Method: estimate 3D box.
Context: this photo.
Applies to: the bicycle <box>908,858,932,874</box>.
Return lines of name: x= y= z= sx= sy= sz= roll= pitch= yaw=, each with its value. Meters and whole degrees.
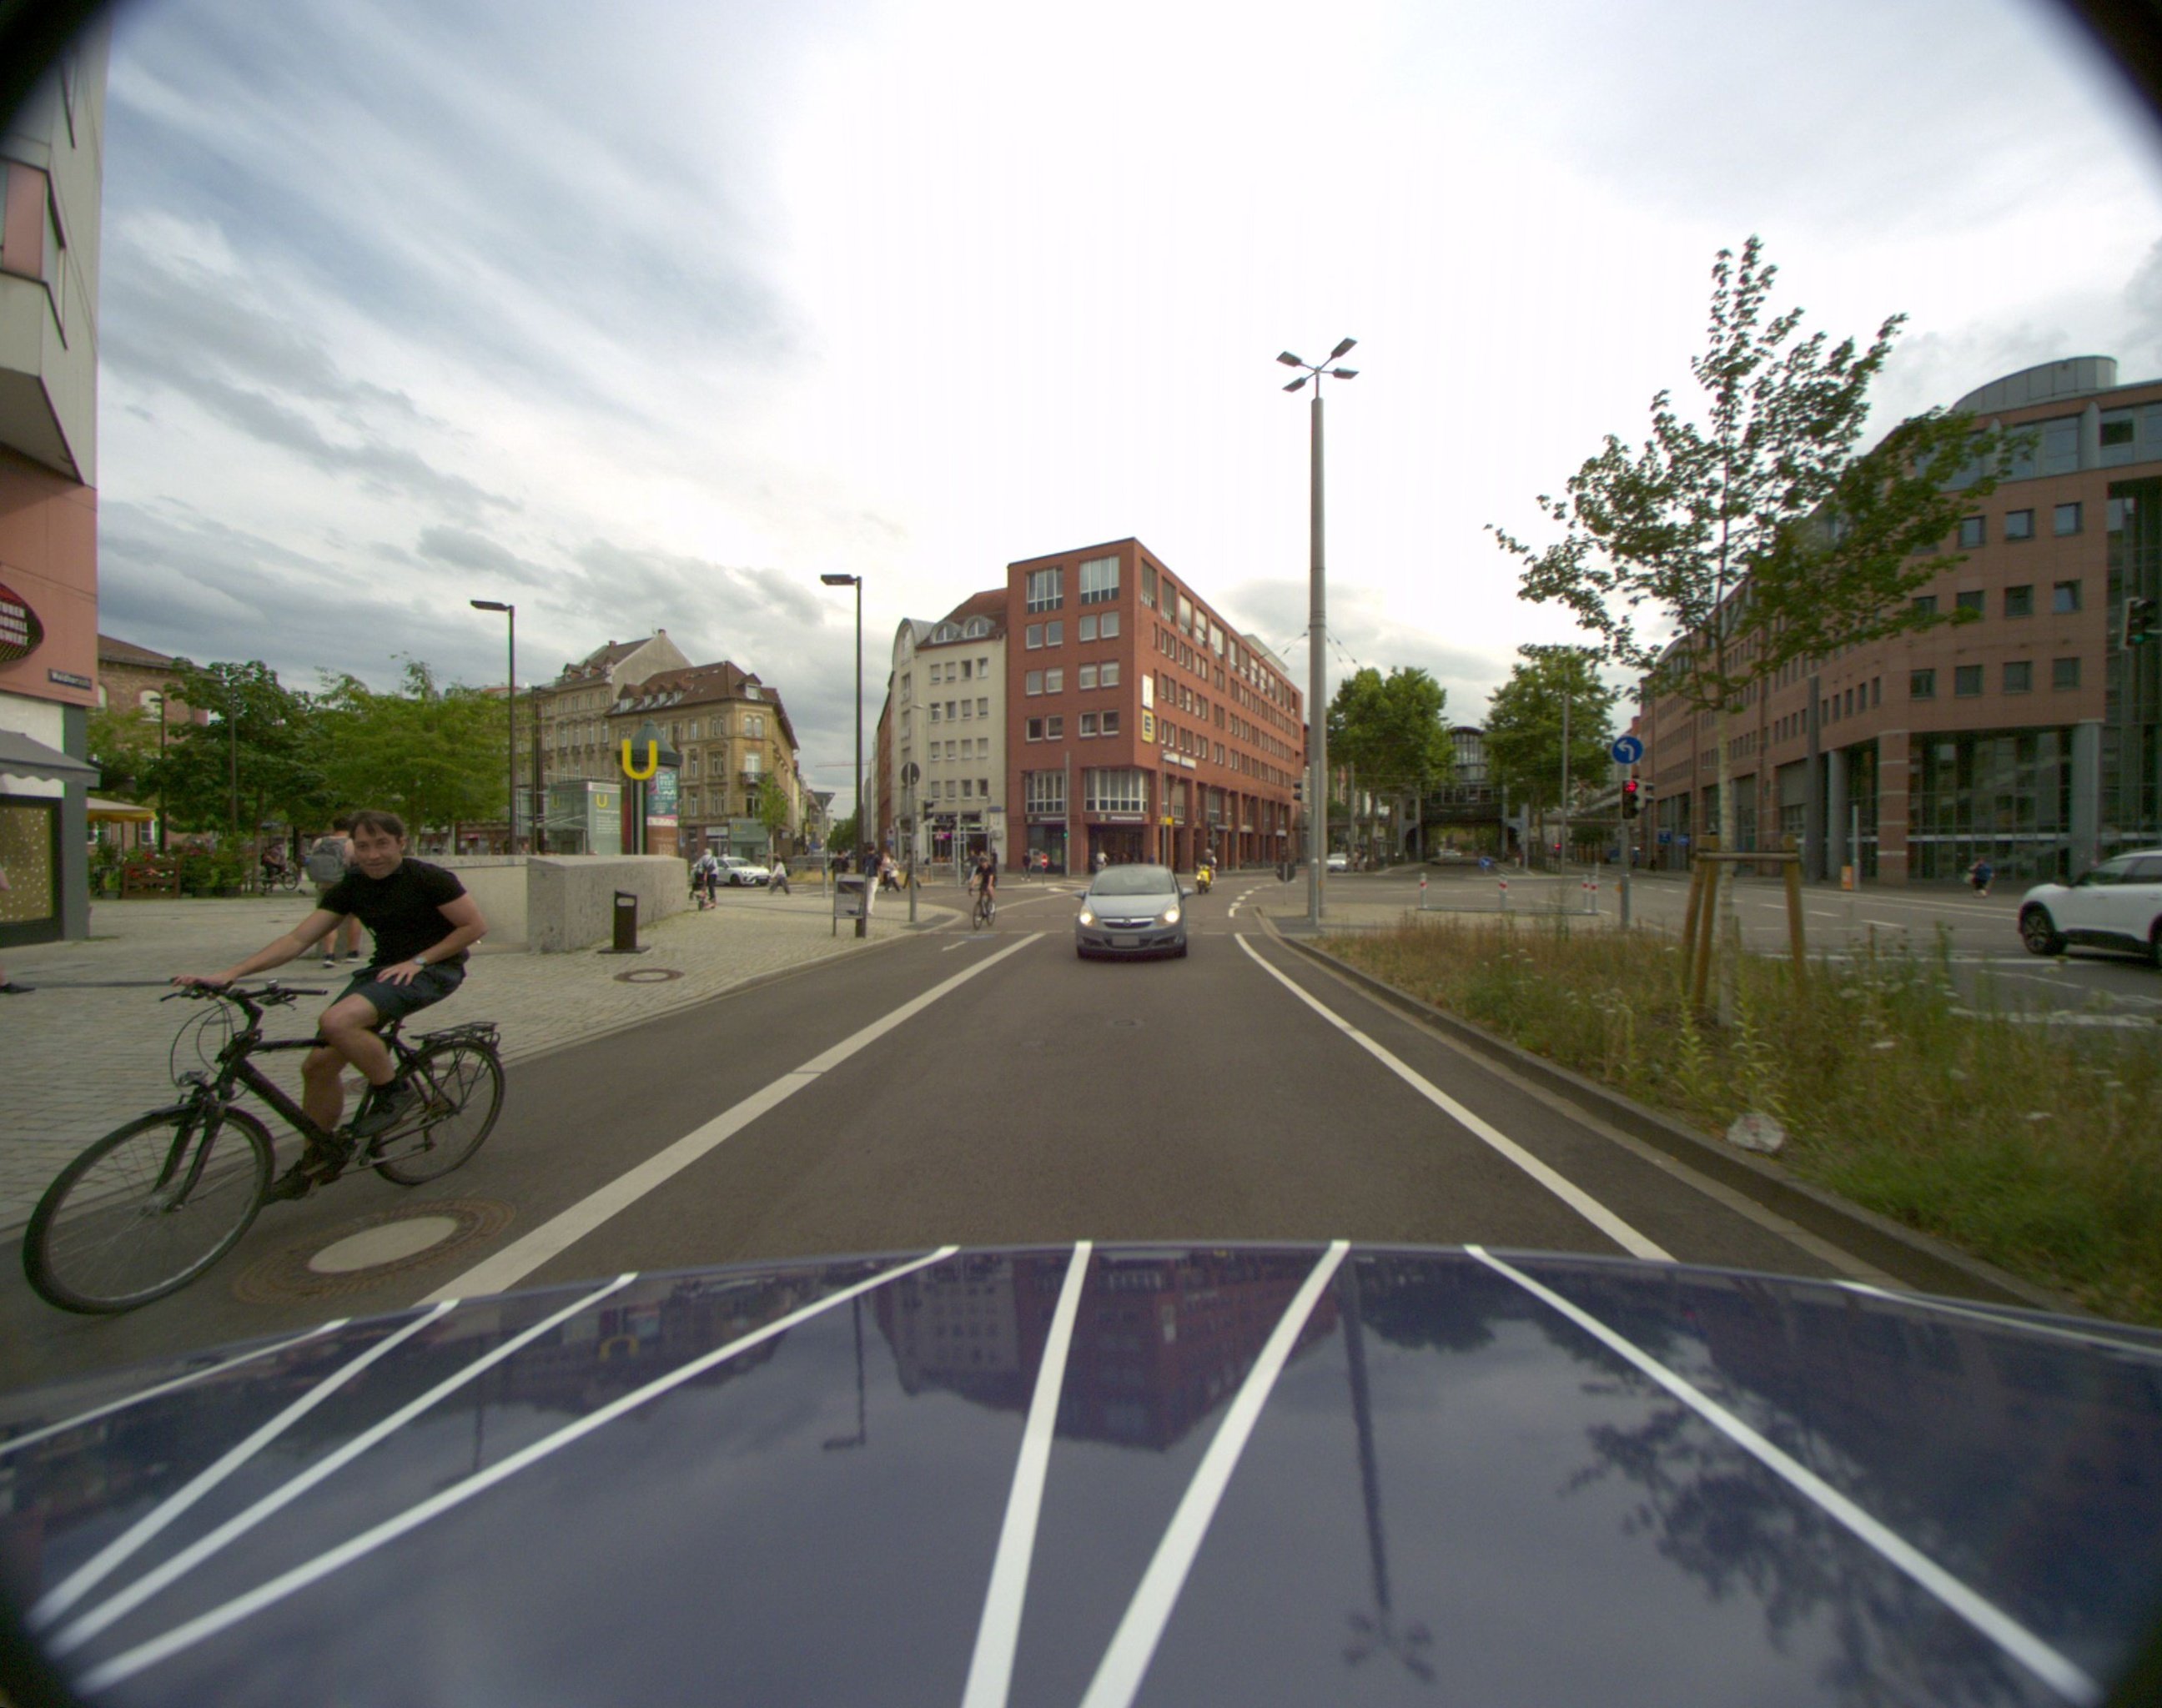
bicycle: x=-12.201 y=0.916 z=57.553 sx=1.803 sy=1.197 sz=0.544 roll=0 pitch=0 yaw=18

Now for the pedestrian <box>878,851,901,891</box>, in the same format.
pedestrian: x=-8.200 y=0.720 z=32.521 sx=0.633 sy=1.685 sz=0.707 roll=0 pitch=0 yaw=27

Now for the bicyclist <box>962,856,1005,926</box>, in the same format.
bicyclist: x=-2.274 y=0.847 z=17.762 sx=0.612 sy=1.594 sz=0.848 roll=-2 pitch=0 yaw=24

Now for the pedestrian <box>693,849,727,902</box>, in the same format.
pedestrian: x=-12.499 y=0.712 z=25.583 sx=0.935 sy=1.730 sz=0.687 roll=1 pitch=0 yaw=41

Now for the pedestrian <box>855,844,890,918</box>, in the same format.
pedestrian: x=-5.720 y=0.742 z=20.824 sx=0.722 sy=1.959 sz=1.012 roll=3 pitch=-1 yaw=-22

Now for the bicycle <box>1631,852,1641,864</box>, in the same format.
bicycle: x=51.976 y=0.397 z=71.161 sx=0.546 sy=1.111 sz=1.593 roll=0 pitch=0 yaw=29

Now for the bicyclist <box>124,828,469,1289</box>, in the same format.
bicyclist: x=-3.243 y=0.756 z=3.236 sx=0.560 sy=1.699 sz=0.863 roll=0 pitch=0 yaw=2

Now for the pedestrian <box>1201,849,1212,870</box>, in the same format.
pedestrian: x=9.884 y=0.439 z=60.007 sx=0.646 sy=1.686 sz=0.699 roll=2 pitch=2 yaw=25

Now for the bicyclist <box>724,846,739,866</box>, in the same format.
bicyclist: x=-27.397 y=0.161 z=59.552 sx=0.860 sy=1.594 sz=0.643 roll=0 pitch=0 yaw=20

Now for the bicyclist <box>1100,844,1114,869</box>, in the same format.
bicyclist: x=1.798 y=0.184 z=52.143 sx=0.641 sy=1.699 sz=0.864 roll=0 pitch=0 yaw=26

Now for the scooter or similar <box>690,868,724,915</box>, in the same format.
scooter or similar: x=-10.048 y=0.988 z=20.424 sx=0.286 sy=1.205 sz=1.126 roll=0 pitch=0 yaw=5

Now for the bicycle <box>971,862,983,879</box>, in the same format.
bicycle: x=-5.914 y=0.949 z=43.256 sx=0.543 sy=0.945 sz=1.805 roll=0 pitch=0 yaw=-11

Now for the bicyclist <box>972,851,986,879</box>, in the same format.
bicyclist: x=-5.819 y=0.608 z=43.222 sx=0.746 sy=1.549 sz=0.945 roll=0 pitch=0 yaw=-11

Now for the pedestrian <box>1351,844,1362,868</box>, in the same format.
pedestrian: x=20.603 y=0.129 z=56.753 sx=0.578 sy=1.781 sz=0.534 roll=0 pitch=1 yaw=-42

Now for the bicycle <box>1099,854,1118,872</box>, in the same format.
bicycle: x=1.905 y=0.619 z=52.469 sx=0.390 sy=1.115 sz=2.081 roll=4 pitch=-1 yaw=26

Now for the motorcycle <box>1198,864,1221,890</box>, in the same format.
motorcycle: x=5.099 y=0.893 z=30.085 sx=0.569 sy=0.962 sz=2.017 roll=0 pitch=0 yaw=19

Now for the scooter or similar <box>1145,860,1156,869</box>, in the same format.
scooter or similar: x=4.557 y=0.689 z=49.758 sx=0.507 sy=0.570 sz=0.817 roll=0 pitch=0 yaw=21

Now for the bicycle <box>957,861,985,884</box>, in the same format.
bicycle: x=-5.511 y=0.919 z=38.179 sx=0.397 sy=1.104 sz=1.834 roll=1 pitch=0 yaw=28

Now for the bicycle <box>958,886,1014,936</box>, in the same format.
bicycle: x=-2.211 y=1.311 z=17.838 sx=0.488 sy=0.995 sz=1.750 roll=0 pitch=1 yaw=22

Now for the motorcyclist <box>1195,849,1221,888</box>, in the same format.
motorcyclist: x=5.016 y=0.559 z=29.992 sx=0.870 sy=1.508 sz=1.045 roll=0 pitch=0 yaw=18

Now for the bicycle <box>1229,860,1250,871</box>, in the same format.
bicycle: x=15.312 y=1.110 z=73.406 sx=1.855 sy=1.034 sz=0.508 roll=0 pitch=0 yaw=28

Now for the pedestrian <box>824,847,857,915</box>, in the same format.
pedestrian: x=-6.510 y=0.727 z=20.555 sx=0.677 sy=1.789 sz=0.884 roll=3 pitch=-1 yaw=-25

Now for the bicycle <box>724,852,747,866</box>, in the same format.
bicycle: x=-27.125 y=0.402 z=59.597 sx=1.915 sy=1.080 sz=0.392 roll=0 pitch=0 yaw=21

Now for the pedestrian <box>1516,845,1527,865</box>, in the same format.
pedestrian: x=34.970 y=0.060 z=60.334 sx=0.657 sy=1.529 sz=0.559 roll=0 pitch=3 yaw=24

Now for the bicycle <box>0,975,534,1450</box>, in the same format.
bicycle: x=-3.319 y=1.221 z=3.204 sx=0.406 sy=1.115 sz=2.018 roll=-1 pitch=-1 yaw=5

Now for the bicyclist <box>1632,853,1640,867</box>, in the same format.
bicyclist: x=51.939 y=0.549 z=71.116 sx=0.550 sy=1.373 sz=0.739 roll=1 pitch=1 yaw=29

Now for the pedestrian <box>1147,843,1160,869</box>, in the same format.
pedestrian: x=4.807 y=0.122 z=50.435 sx=0.639 sy=1.677 sz=0.601 roll=1 pitch=0 yaw=28

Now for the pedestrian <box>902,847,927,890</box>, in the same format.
pedestrian: x=-7.247 y=0.633 z=33.115 sx=0.639 sy=1.843 sz=0.879 roll=1 pitch=0 yaw=28

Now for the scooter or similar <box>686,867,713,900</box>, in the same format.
scooter or similar: x=-13.121 y=1.002 z=26.134 sx=0.700 sy=1.104 sz=0.610 roll=2 pitch=1 yaw=40

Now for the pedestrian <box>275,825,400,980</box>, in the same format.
pedestrian: x=-9.376 y=0.592 z=9.623 sx=0.659 sy=1.841 sz=0.970 roll=3 pitch=0 yaw=-14

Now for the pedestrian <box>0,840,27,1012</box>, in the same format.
pedestrian: x=-10.677 y=0.694 z=7.209 sx=0.474 sy=1.663 sz=0.589 roll=3 pitch=0 yaw=-16
